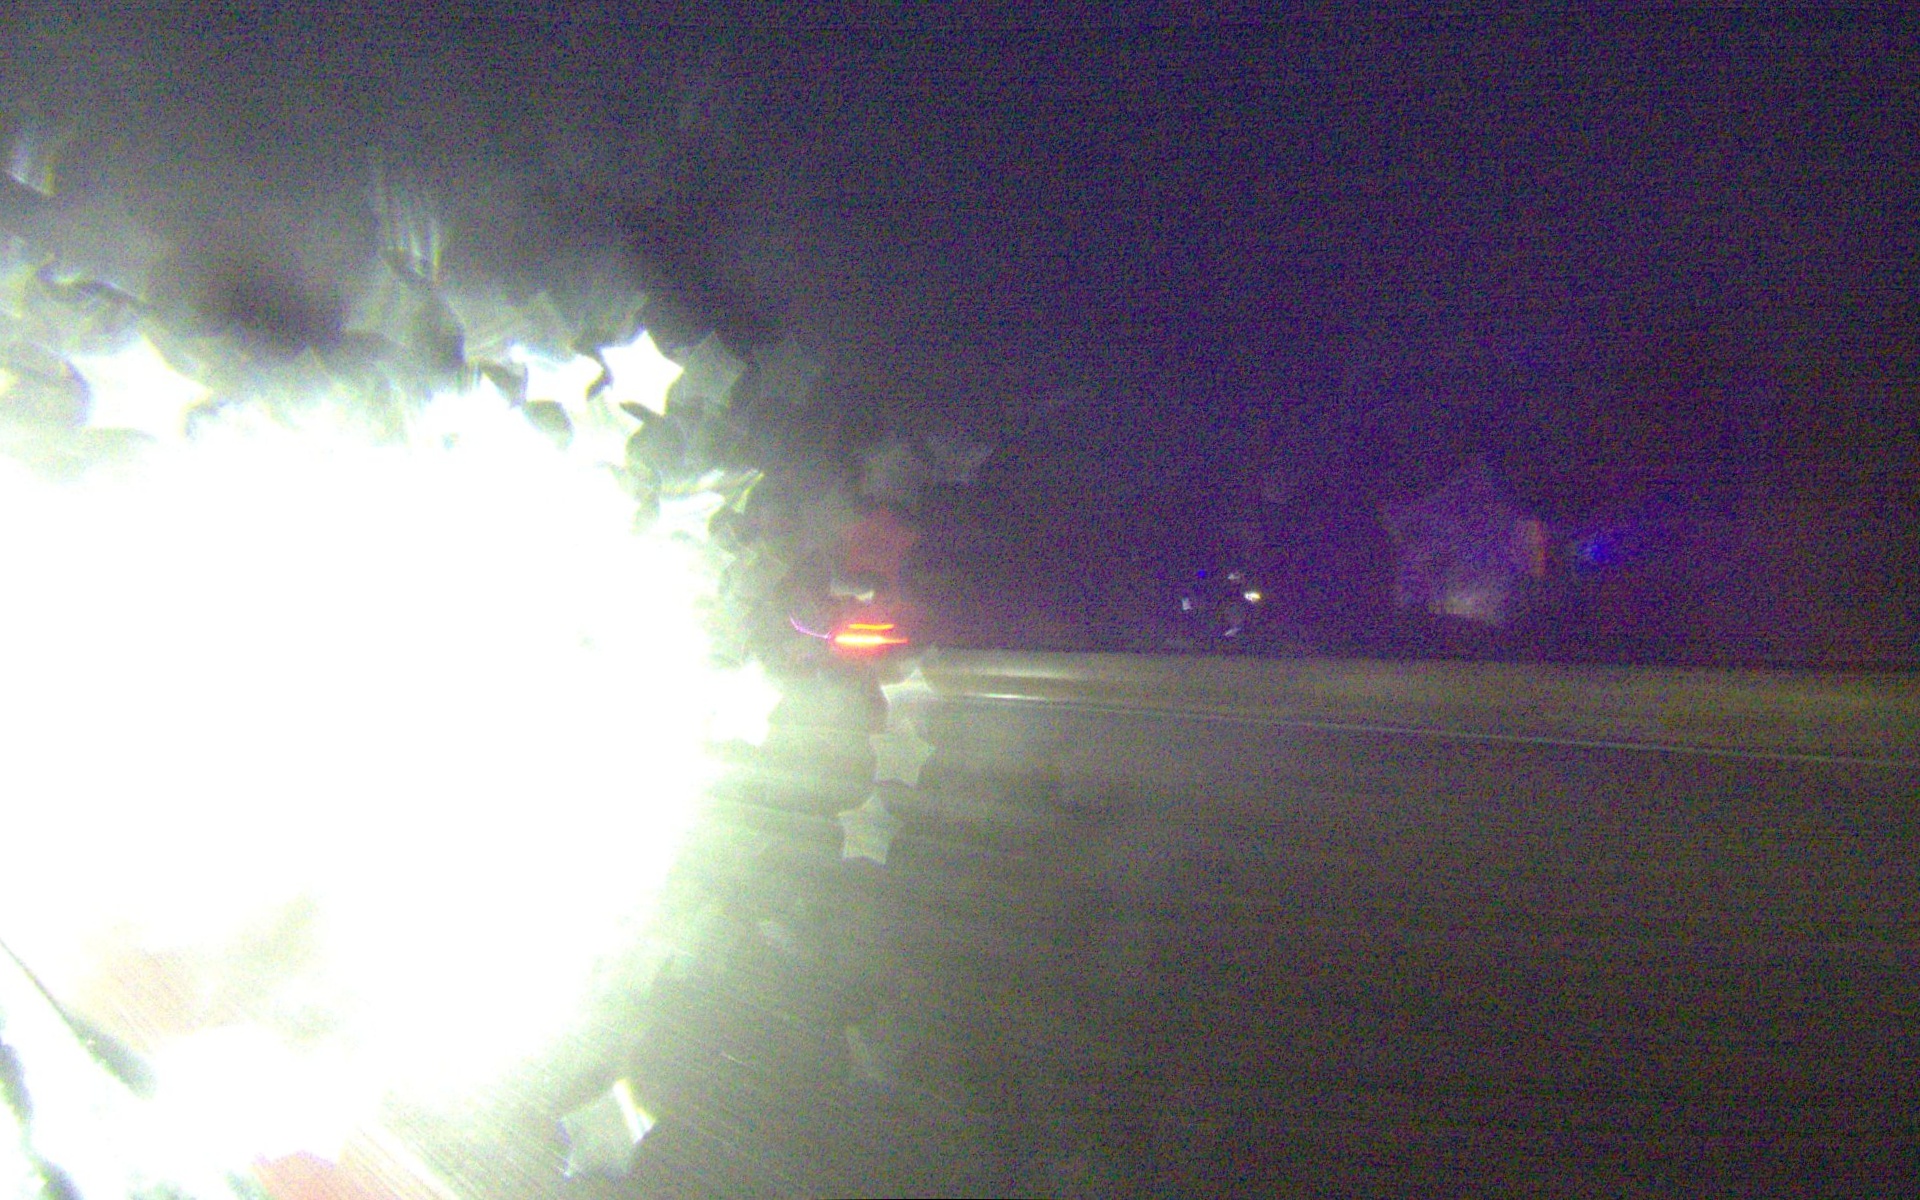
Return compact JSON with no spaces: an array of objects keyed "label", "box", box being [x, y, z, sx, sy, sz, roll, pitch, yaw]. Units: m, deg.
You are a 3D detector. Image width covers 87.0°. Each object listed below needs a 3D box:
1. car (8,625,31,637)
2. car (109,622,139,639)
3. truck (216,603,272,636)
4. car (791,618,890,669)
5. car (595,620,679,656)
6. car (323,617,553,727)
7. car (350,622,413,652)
[{"label":"car","box":[-141.497,4.686,152.224,4.343,1.685,1.973,-1,0,40]},{"label":"car","box":[-87.439,3.215,105.856,4.655,1.685,1.596,-1,0,41]},{"label":"truck","box":[-65.185,1.786,92.058,7.746,2.868,2.868,-1,0,44]},{"label":"car","box":[-4.673,1.638,39.210,3.910,1.818,1.613,-1,0,42]},{"label":"car","box":[-16.166,1.864,50.548,4.343,1.685,1.973,-1,0,40]},{"label":"car","box":[-8.047,1.014,15.435,4.243,1.441,1.639,-2,-1,40]},{"label":"car","box":[-34.870,2.212,60.950,4.343,1.685,1.973,-1,0,40]}]
